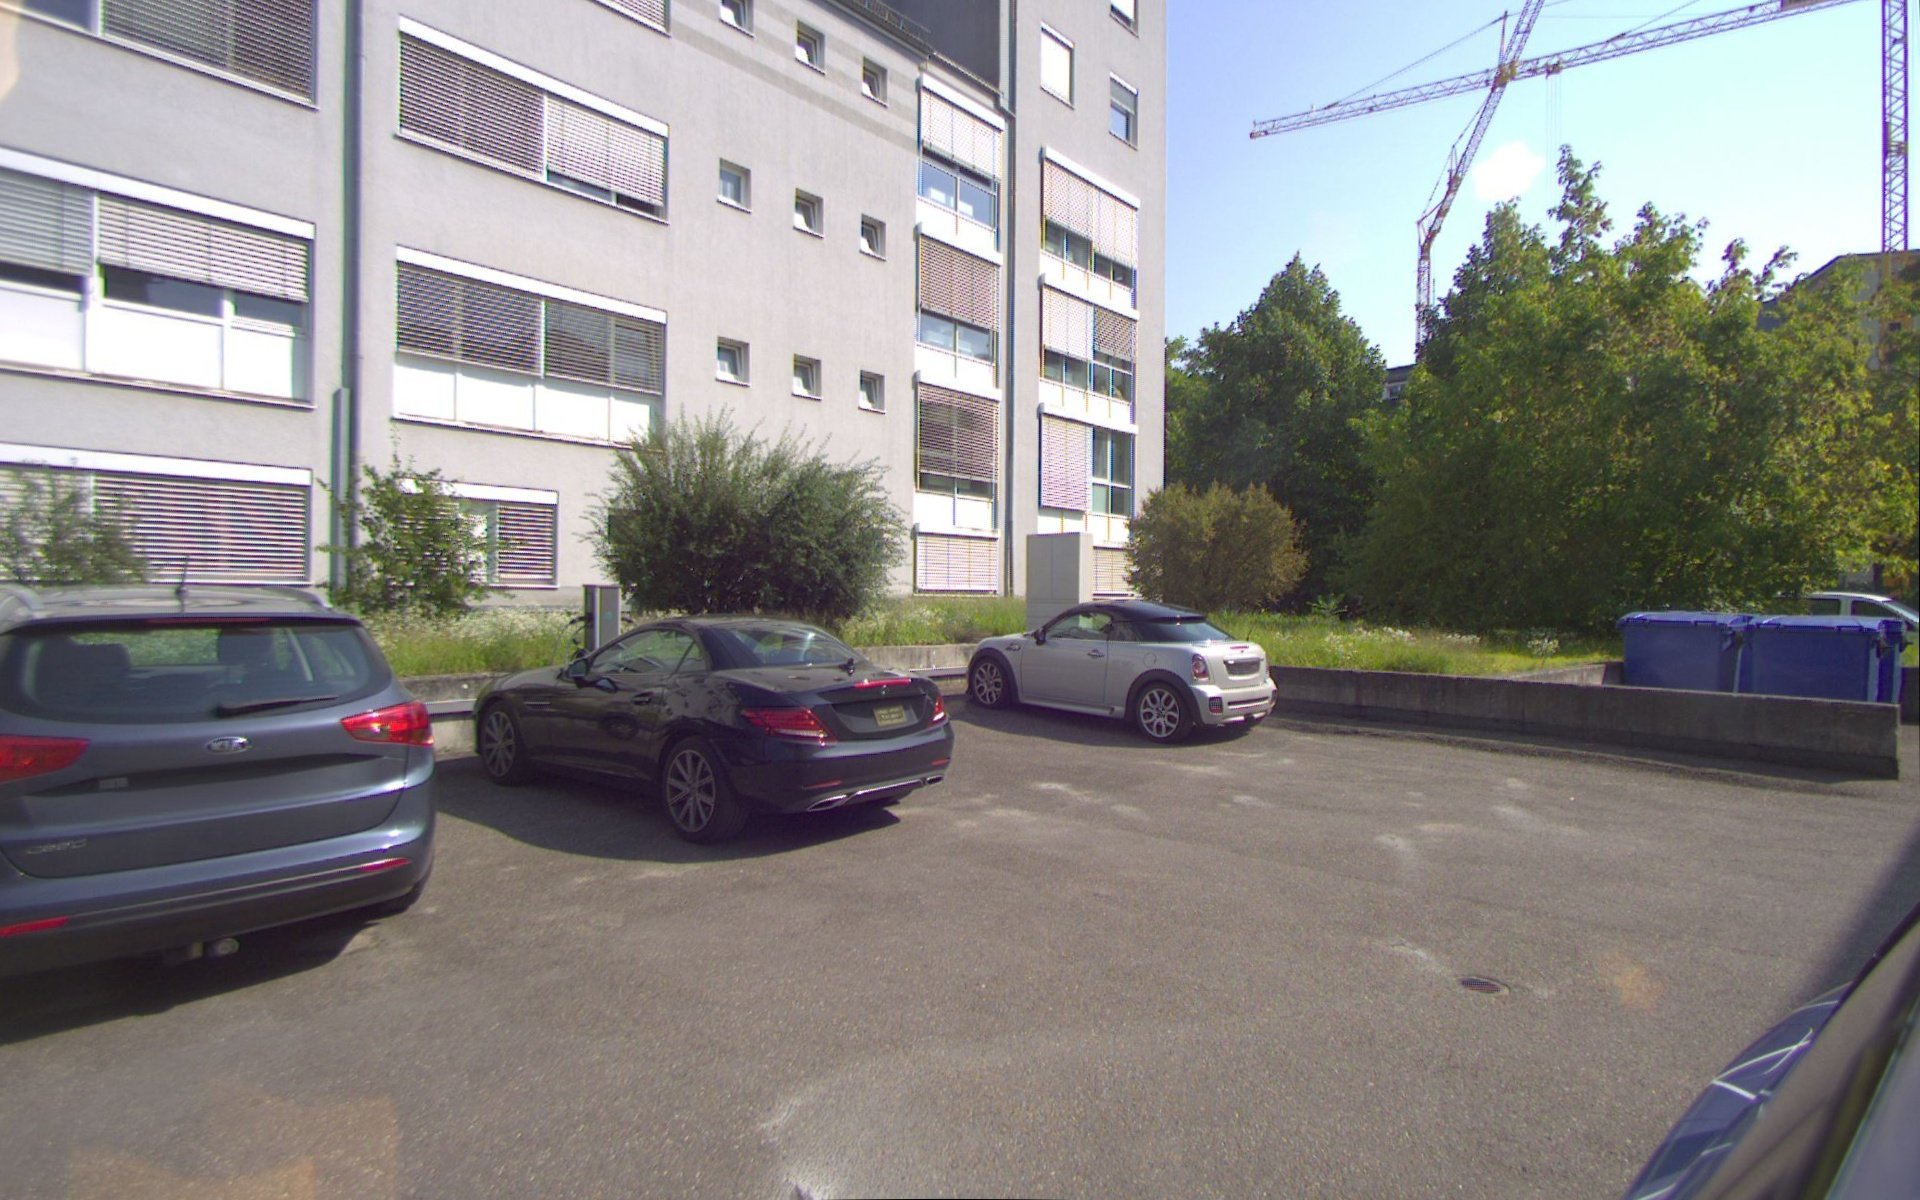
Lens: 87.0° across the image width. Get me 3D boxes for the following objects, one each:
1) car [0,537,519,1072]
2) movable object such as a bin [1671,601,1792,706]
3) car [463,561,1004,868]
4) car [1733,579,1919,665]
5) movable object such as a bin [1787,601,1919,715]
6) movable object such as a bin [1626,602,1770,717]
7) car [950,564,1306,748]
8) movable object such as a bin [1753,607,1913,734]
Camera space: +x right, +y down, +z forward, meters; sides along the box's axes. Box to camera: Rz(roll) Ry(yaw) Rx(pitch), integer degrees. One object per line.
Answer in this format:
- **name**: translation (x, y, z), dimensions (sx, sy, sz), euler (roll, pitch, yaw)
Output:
- **car**: translation (-3.841, 0.601, 4.851), dimensions (3.862, 1.609, 1.850), euler (0, 0, 44)
- **movable object such as a bin**: translation (10.699, 0.697, 14.046), dimensions (1.226, 1.357, 1.060), euler (0, 0, 44)
- **car**: translation (-1.752, 0.585, 7.250), dimensions (3.793, 1.609, 1.870), euler (0, 0, 39)
- **car**: translation (21.866, 0.490, 24.264), dimensions (2.007, 1.945, 4.968), euler (-1, 0, -39)
- **movable object such as a bin**: translation (11.564, 0.702, 13.030), dimensions (1.082, 1.357, 1.310), euler (0, 0, -44)
- **movable object such as a bin**: translation (9.424, 0.708, 12.940), dimensions (1.096, 1.357, 1.238), euler (0, 0, -38)
- **car**: translation (1.778, 0.481, 11.520), dimensions (1.772, 1.563, 3.625), euler (0, 5, -43)
- **movable object such as a bin**: translation (10.261, 0.769, 11.905), dimensions (1.174, 1.357, 1.302), euler (0, 0, -42)
